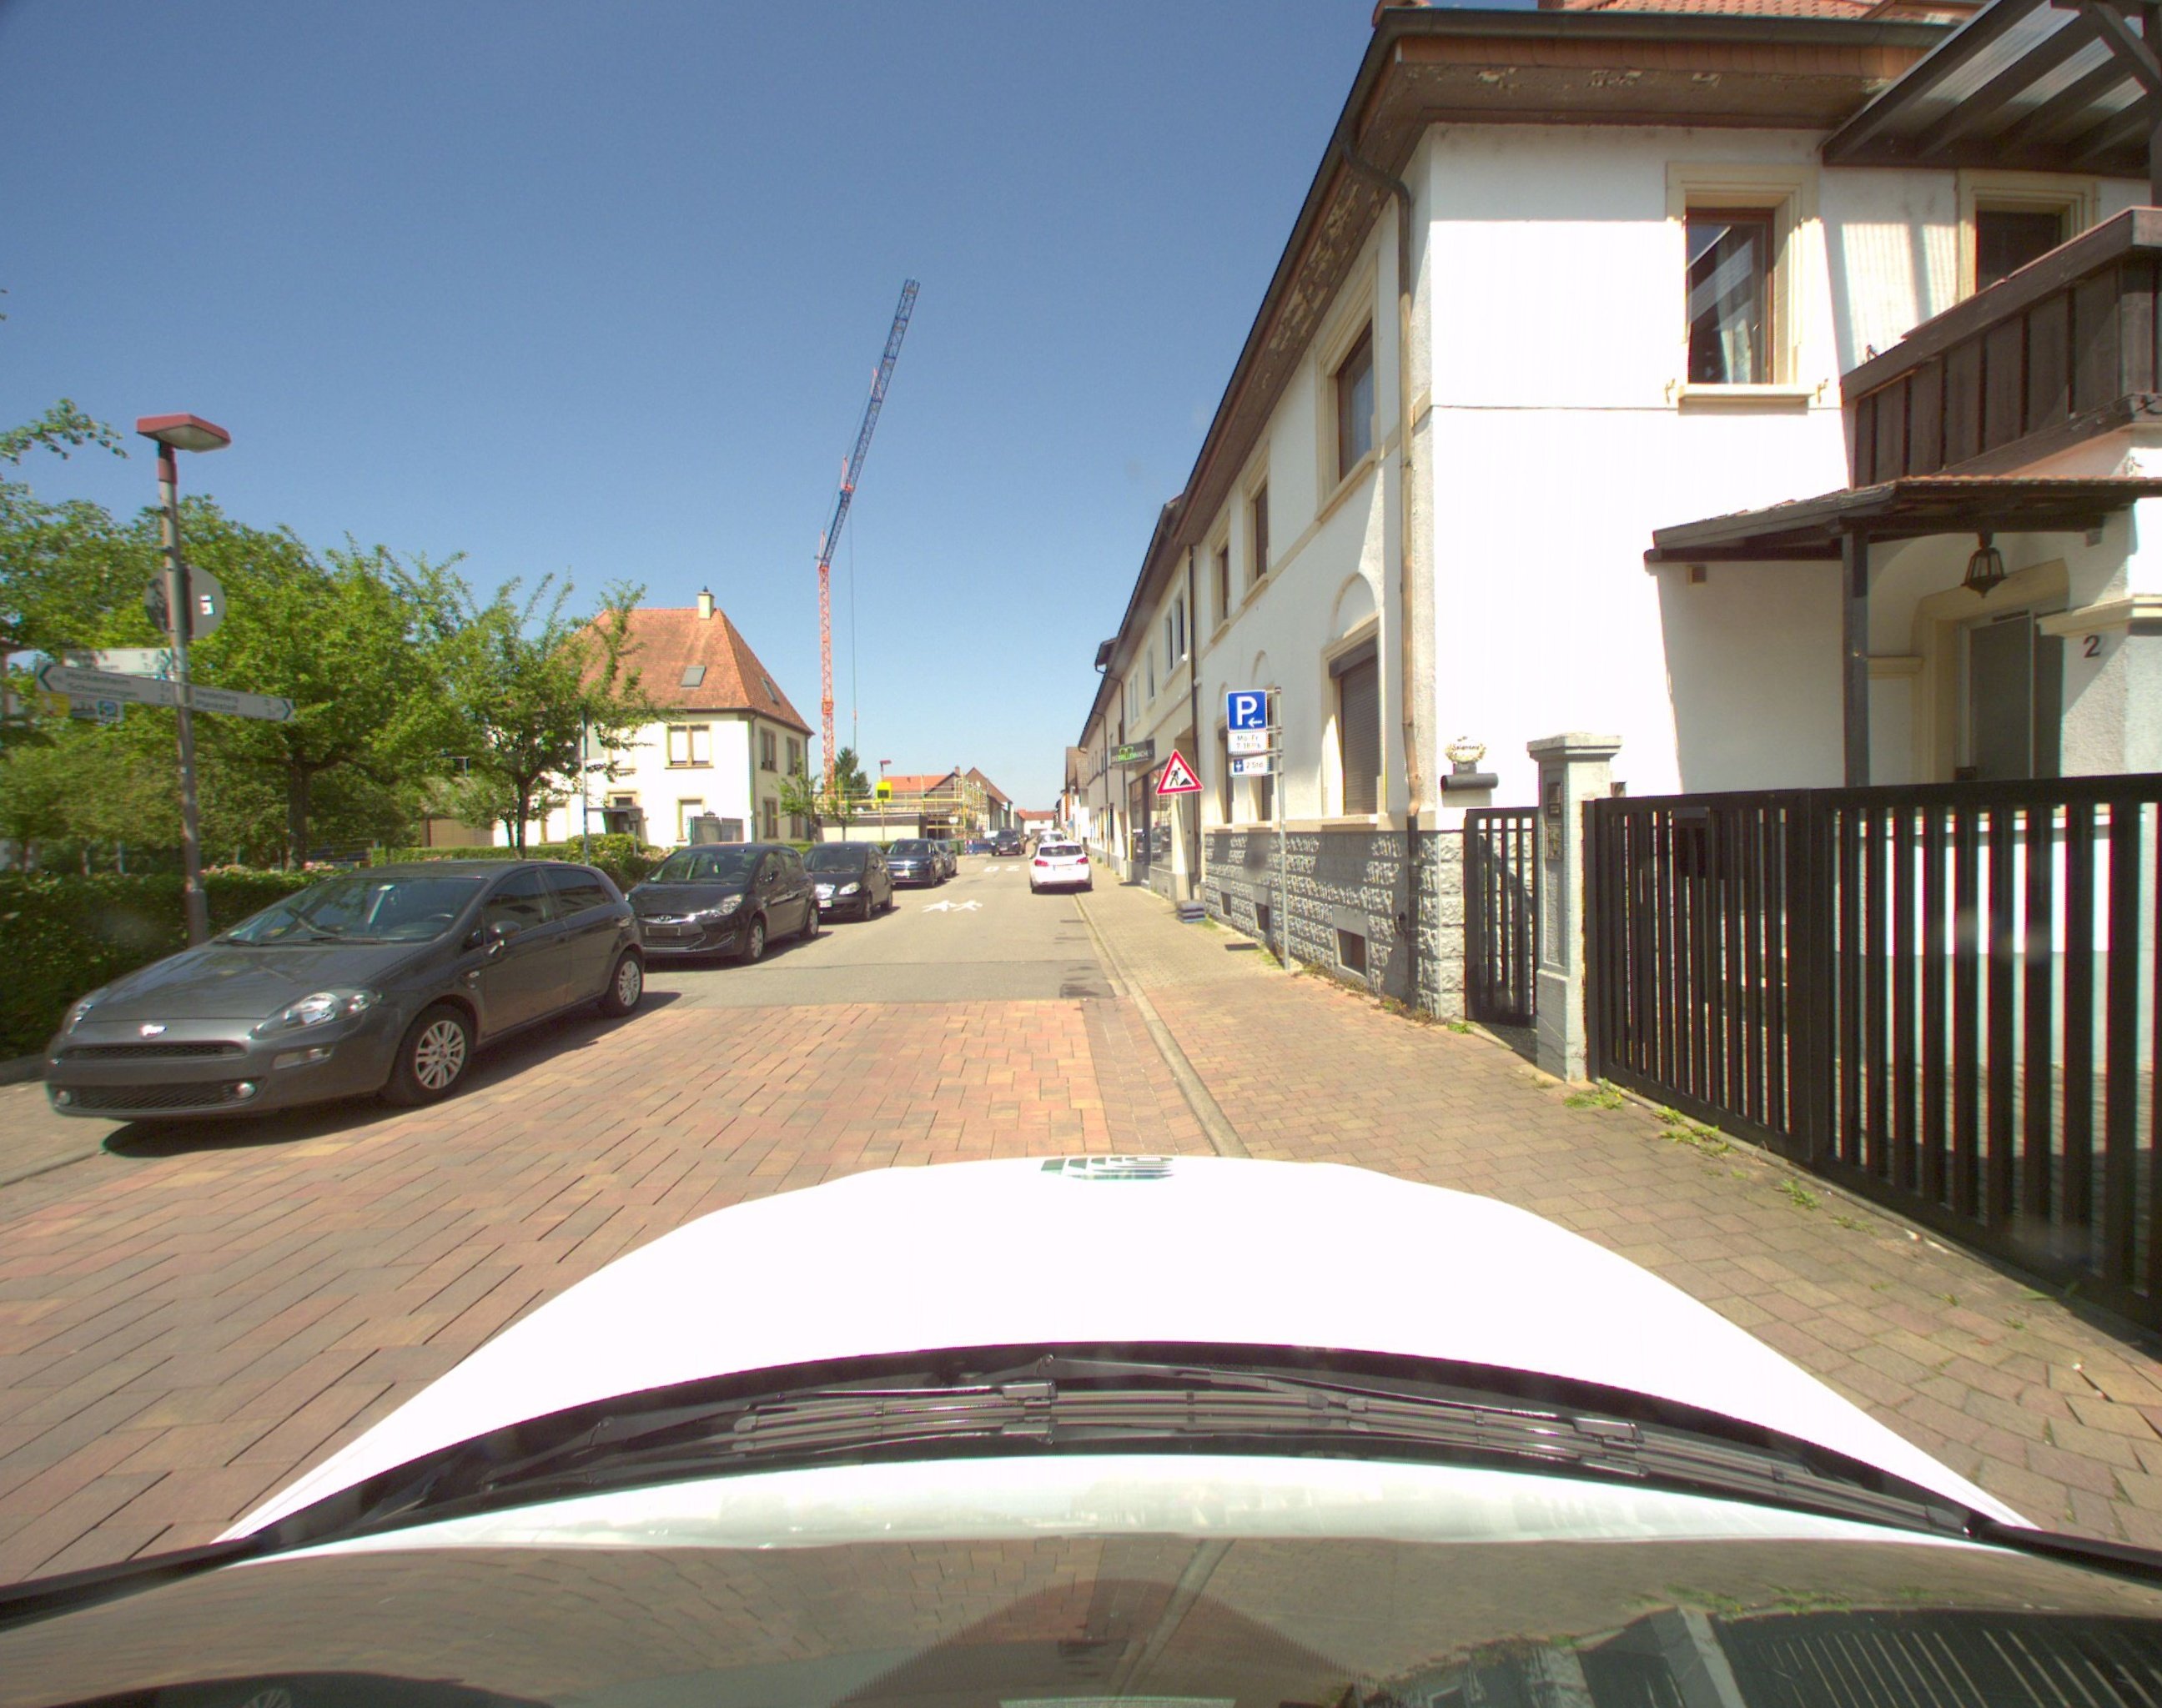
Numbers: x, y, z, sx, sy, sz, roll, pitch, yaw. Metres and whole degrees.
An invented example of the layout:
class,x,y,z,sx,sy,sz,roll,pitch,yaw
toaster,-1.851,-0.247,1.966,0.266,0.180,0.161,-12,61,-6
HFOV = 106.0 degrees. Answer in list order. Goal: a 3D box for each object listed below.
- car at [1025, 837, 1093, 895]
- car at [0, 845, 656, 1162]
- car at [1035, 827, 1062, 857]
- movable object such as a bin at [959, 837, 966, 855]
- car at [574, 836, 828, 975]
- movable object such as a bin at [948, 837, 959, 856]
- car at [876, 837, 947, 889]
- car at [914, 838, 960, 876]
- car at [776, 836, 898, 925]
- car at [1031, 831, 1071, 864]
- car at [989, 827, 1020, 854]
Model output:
class,x,y,z,sx,sy,sz,roll,pitch,yaw
car,-0.689,0.301,24.934,1.882,1.541,4.239,-2,2,-2
car,-4.898,0.727,6.060,1.700,1.496,3.850,-2,2,-6
car,-2.013,-0.768,49.931,1.560,1.612,3.540,-2,4,-3
movable object such as a bin,-7.778,-0.508,53.431,0.432,1.155,0.363,-2,2,-13
car,-5.213,0.580,11.866,1.810,1.604,4.023,-2,2,-1
movable object such as a bin,-8.283,-0.497,52.908,0.622,1.155,0.675,-2,2,-10
car,-5.820,0.241,28.375,1.823,1.630,4.211,-2,2,-4
car,-5.983,0.088,34.037,1.433,1.474,3.781,-2,1,-4
car,-5.114,0.473,17.581,1.634,1.628,3.764,-2,2,-3
car,-1.682,-0.403,44.773,1.882,1.555,3.887,-5,2,-5
car,-5.022,-0.886,53.776,1.878,1.668,4.148,-2,2,-4
